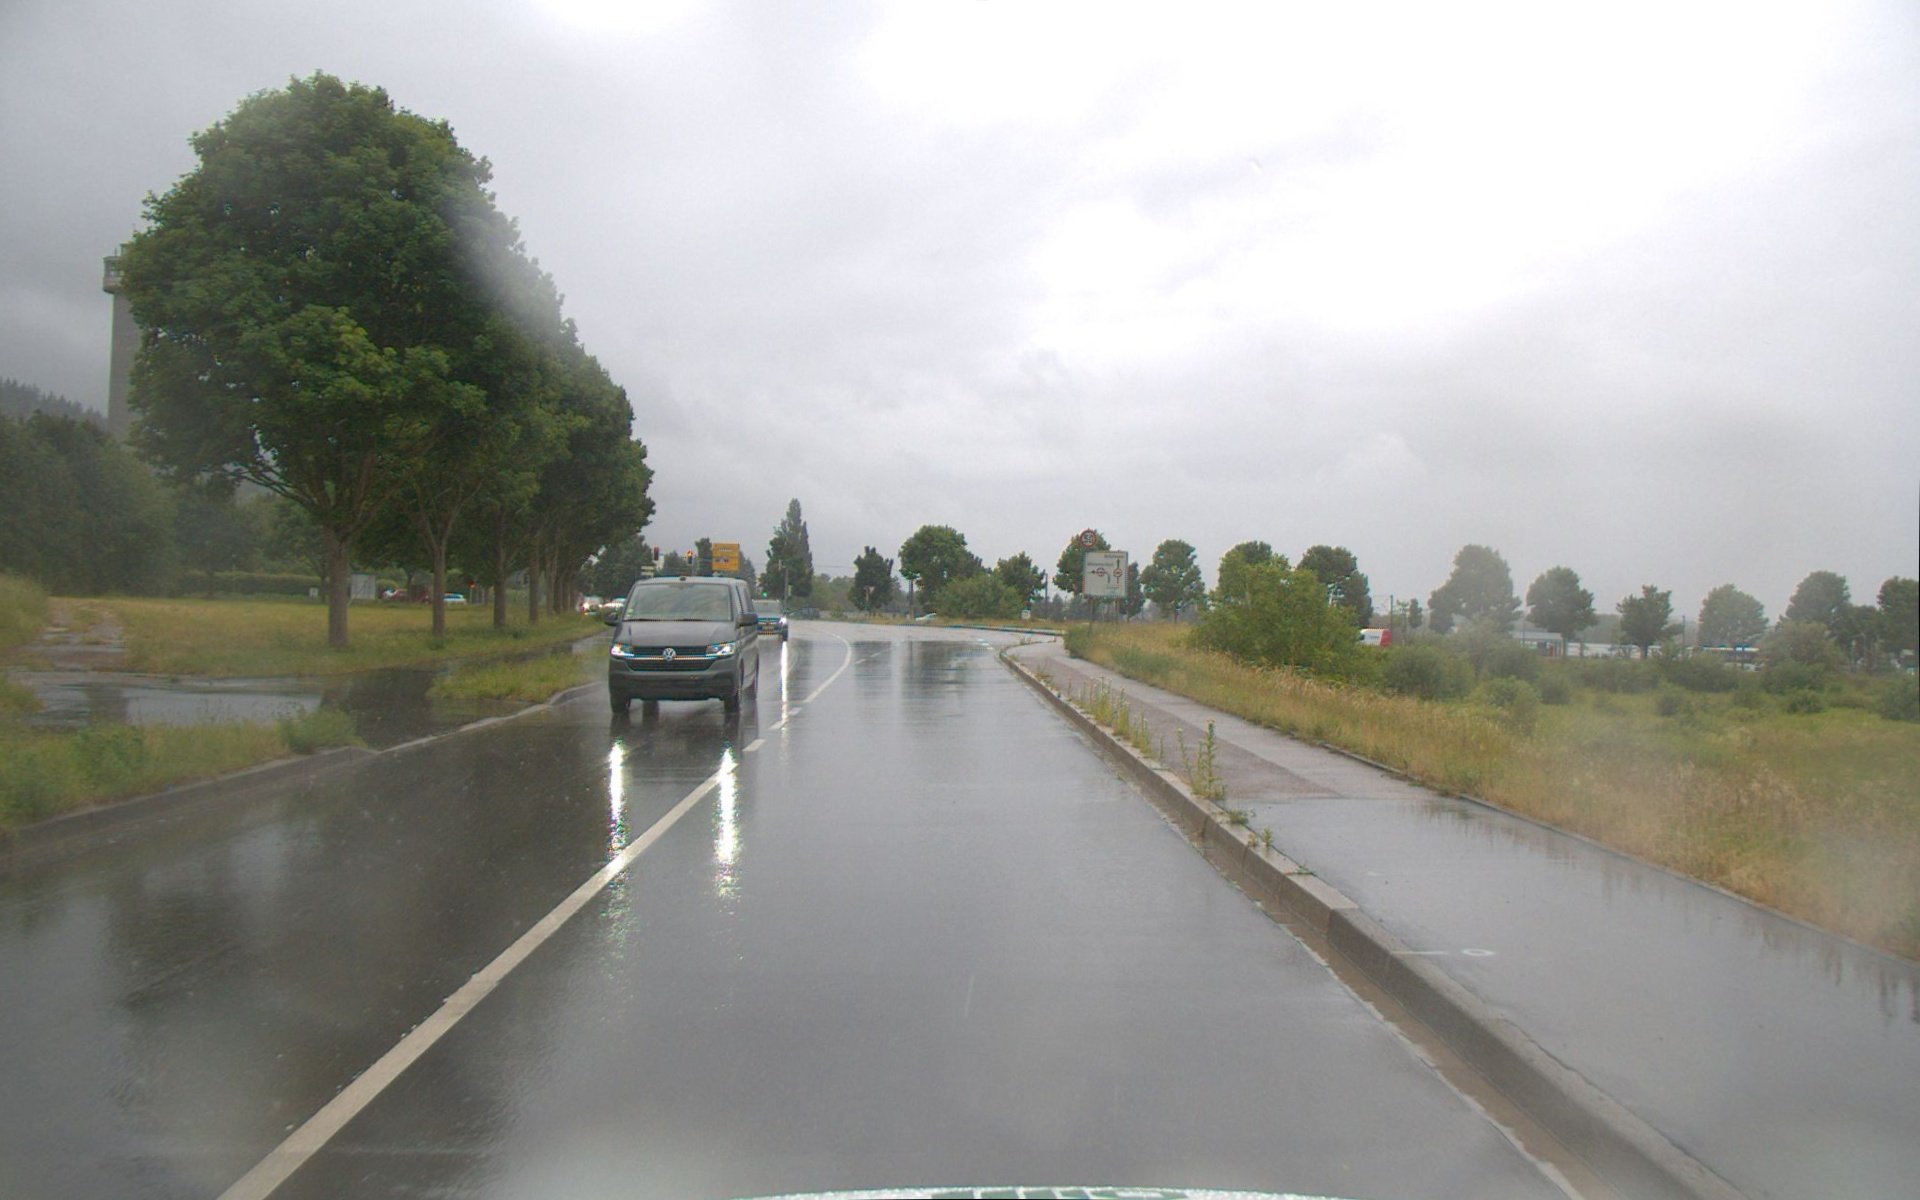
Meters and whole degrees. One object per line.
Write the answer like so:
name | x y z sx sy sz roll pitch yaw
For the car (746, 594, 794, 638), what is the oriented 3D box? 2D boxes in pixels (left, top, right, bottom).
car | -8.133 0.660 70.685 1.870 1.751 3.992 -2 0 -8

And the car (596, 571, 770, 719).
car | -4.053 0.618 24.972 1.953 2.007 4.955 0 0 -2

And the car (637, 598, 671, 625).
car | -25.880 0.925 139.713 1.966 2.048 3.973 4 0 -22
